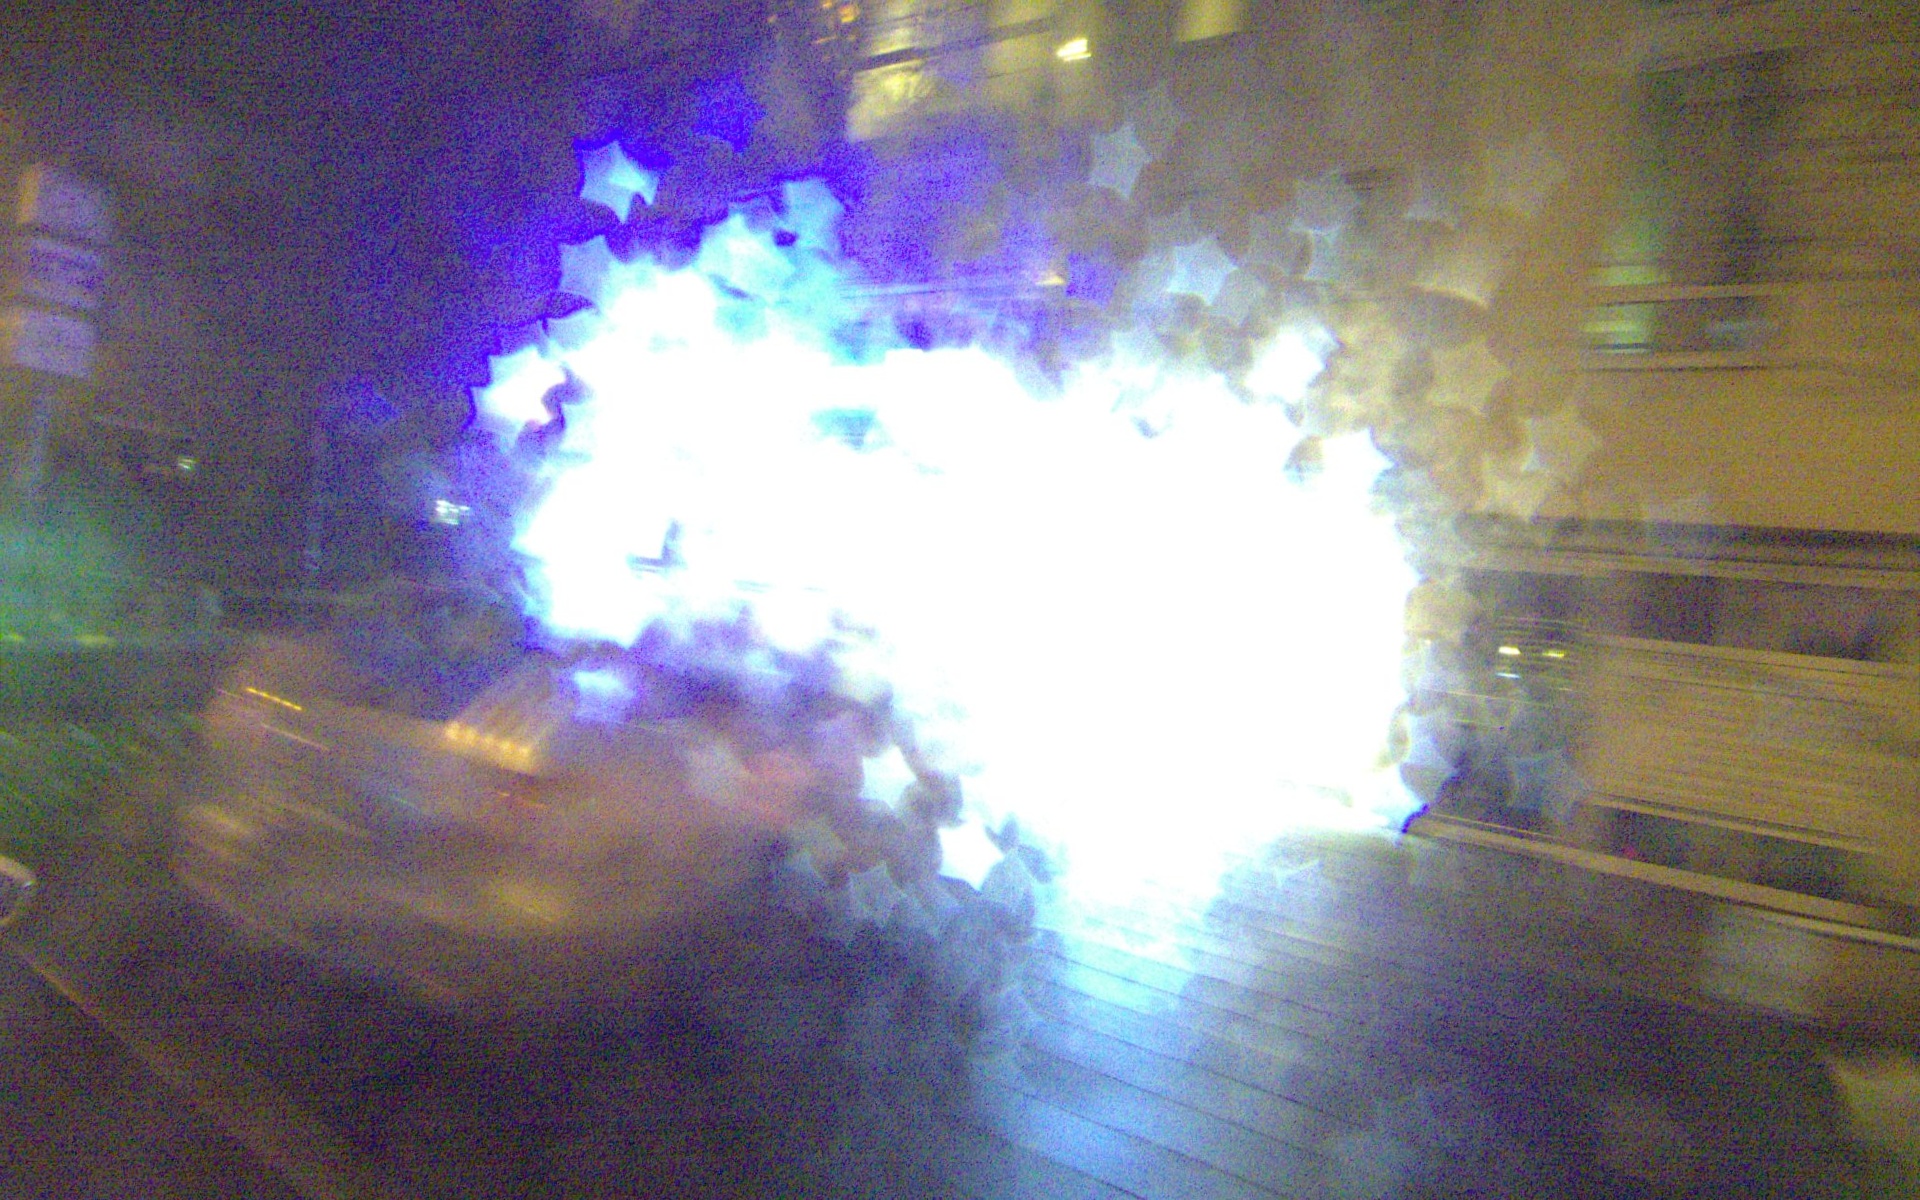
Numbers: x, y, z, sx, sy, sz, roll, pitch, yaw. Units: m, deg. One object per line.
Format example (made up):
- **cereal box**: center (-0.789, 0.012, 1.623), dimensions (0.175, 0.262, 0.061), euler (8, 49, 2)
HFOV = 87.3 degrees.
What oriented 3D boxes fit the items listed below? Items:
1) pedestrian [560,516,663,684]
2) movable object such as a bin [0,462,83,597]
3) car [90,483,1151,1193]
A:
- **pedestrian**: center (-3.954, 0.009, 11.433), dimensions (0.614, 1.812, 0.702), euler (9, 3, 35)
- **movable object such as a bin**: center (-11.121, -0.861, 11.587), dimensions (1.035, 1.446, 1.308), euler (7, 0, 41)
- **car**: center (-0.816, 0.560, 4.659), dimensions (1.750, 1.551, 4.513), euler (7, 2, 31)
